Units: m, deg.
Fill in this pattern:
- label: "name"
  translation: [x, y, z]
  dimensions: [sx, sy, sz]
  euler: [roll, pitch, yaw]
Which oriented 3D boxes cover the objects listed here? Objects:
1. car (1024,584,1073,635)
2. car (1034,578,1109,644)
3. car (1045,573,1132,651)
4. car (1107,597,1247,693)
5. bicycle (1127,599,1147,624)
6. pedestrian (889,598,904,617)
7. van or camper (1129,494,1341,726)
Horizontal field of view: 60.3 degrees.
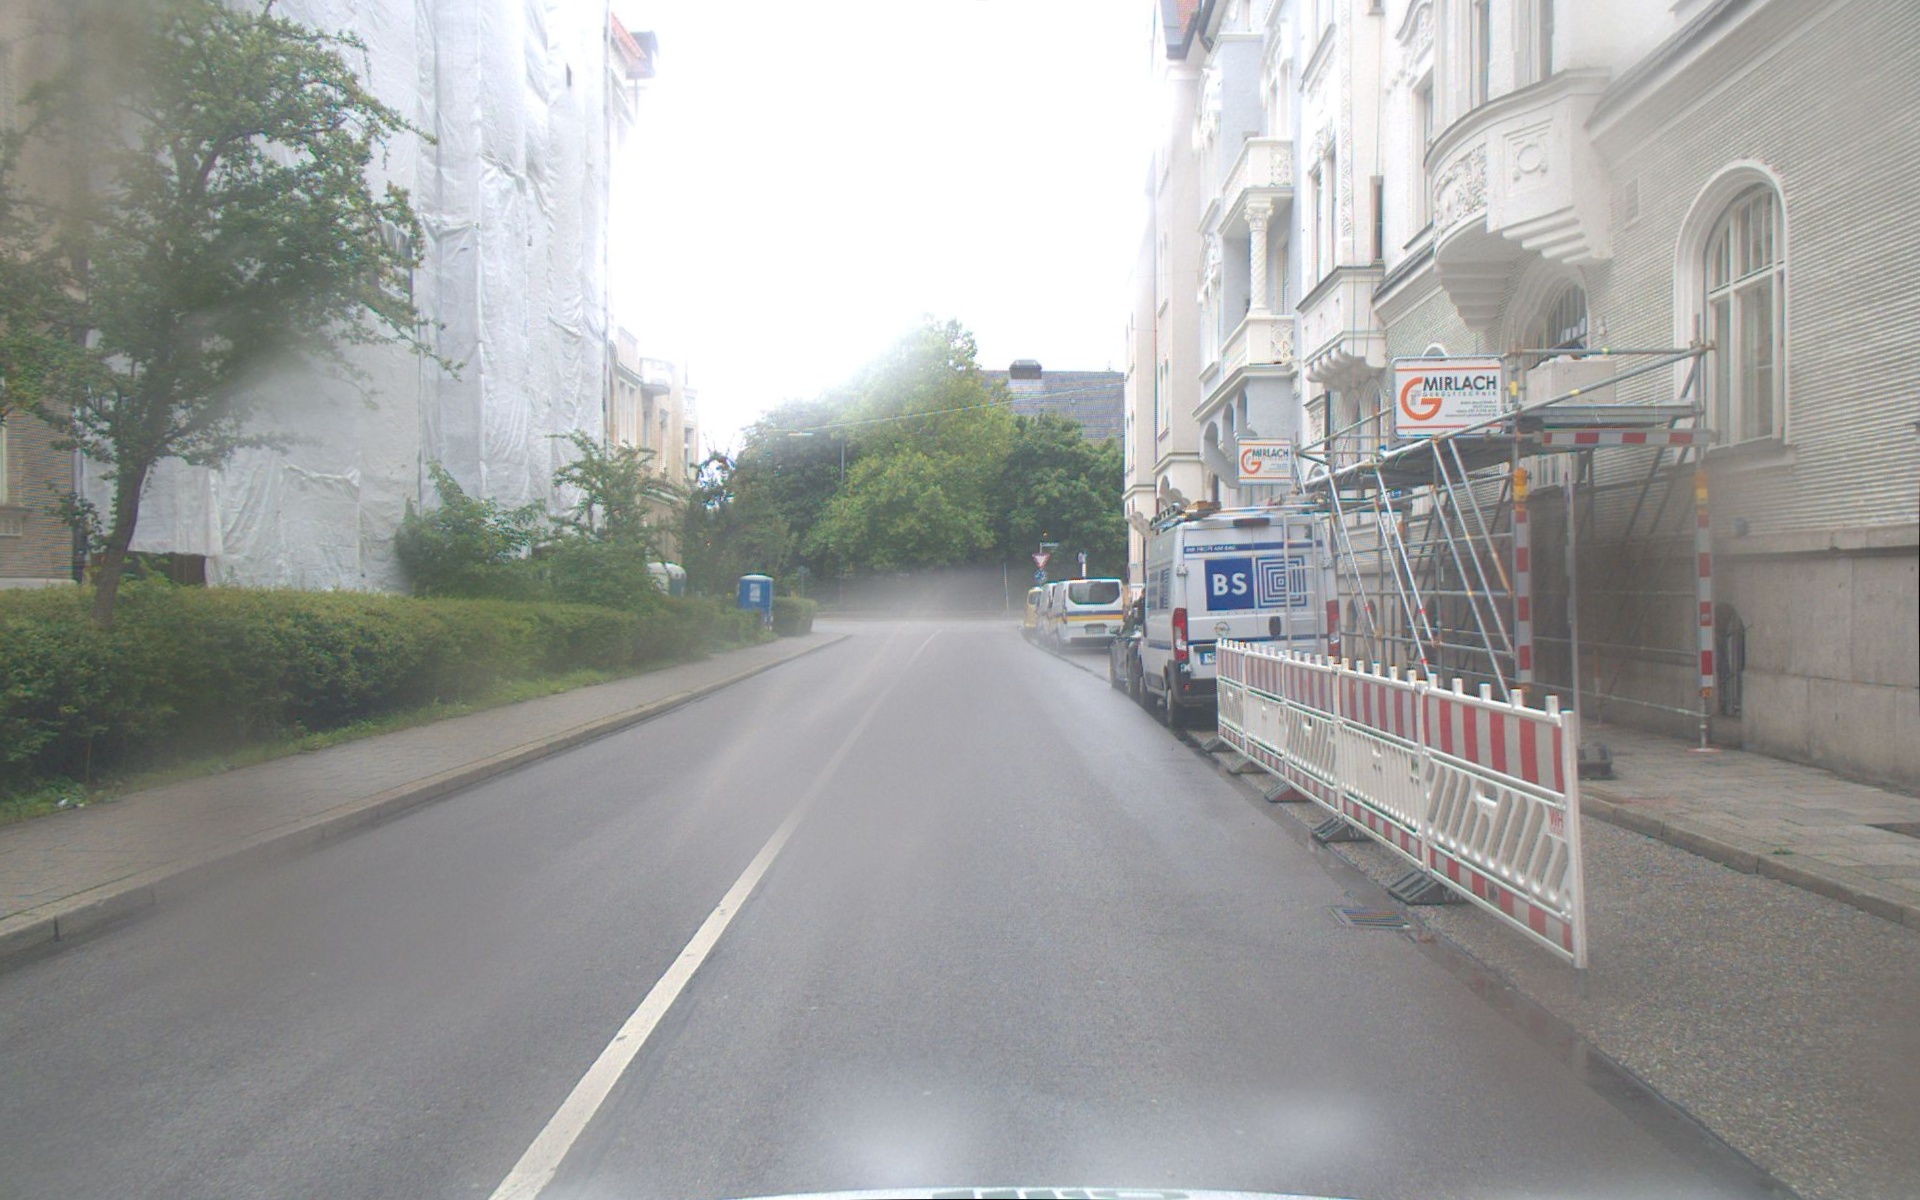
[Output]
- label: "car"
  translation: [3.423, 0.334, 64.009]
  dimensions: [1.811, 1.885, 4.823]
  euler: [-1, 0, 3]
- label: "car"
  translation: [3.504, 0.317, 52.743]
  dimensions: [1.920, 1.971, 4.991]
  euler: [-1, 0, -2]
- label: "car"
  translation: [3.548, 0.300, 46.573]
  dimensions: [1.920, 2.049, 4.991]
  euler: [-1, 0, -2]
- label: "car"
  translation: [3.536, 0.689, 27.604]
  dimensions: [1.718, 1.459, 4.086]
  euler: [-1, 0, -1]
- label: "bicycle"
  translation: [8.373, 0.549, 78.400]
  dimensions: [0.680, 1.113, 2.283]
  euler: [-3, 0, 1]
- label: "pedestrian"
  translation: [-4.051, 0.492, 105.085]
  dimensions: [0.794, 1.209, 0.920]
  euler: [-1, 0, 6]
- label: "van or camper"
  translation: [3.473, 0.114, 21.962]
  dimensions: [1.913, 2.683, 5.458]
  euler: [-1, 0, 0]
